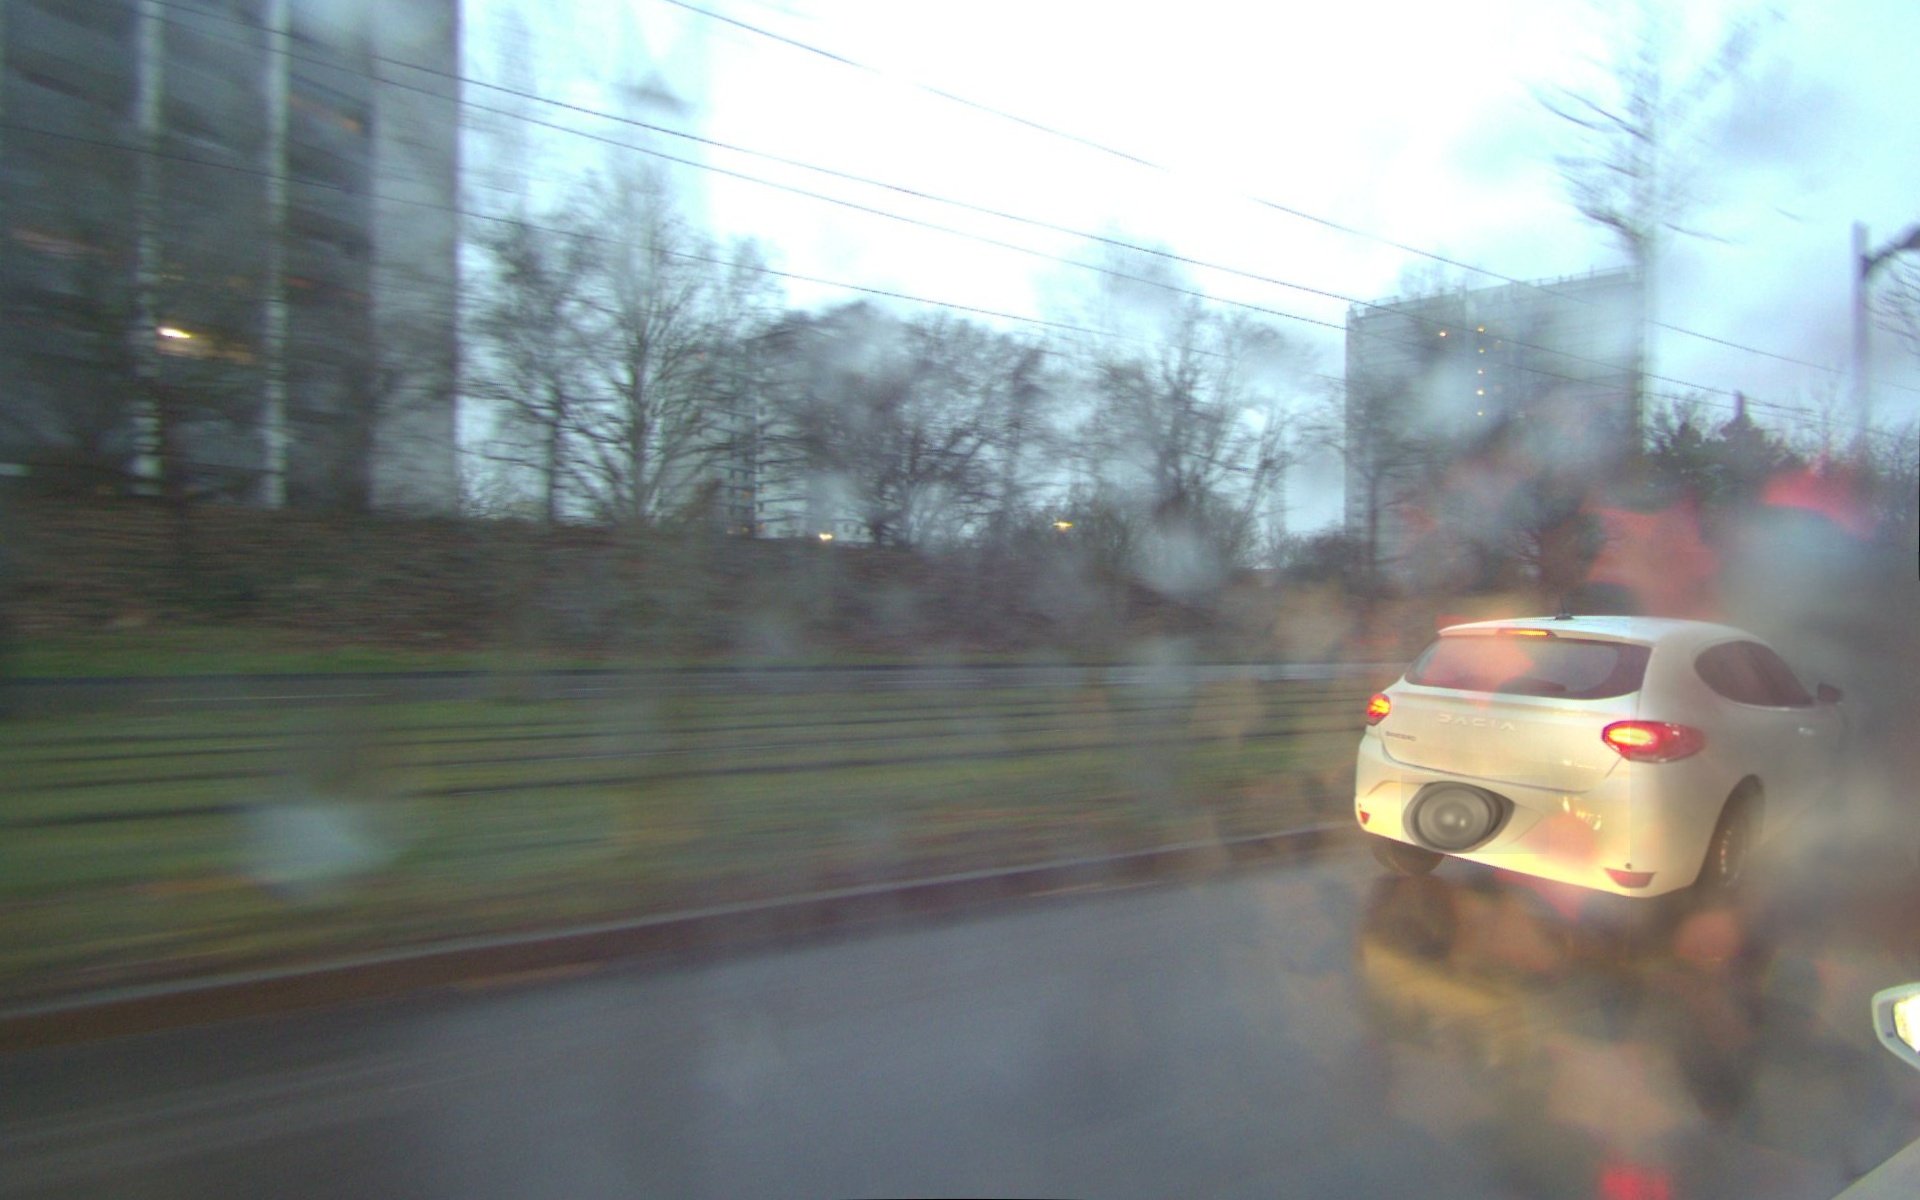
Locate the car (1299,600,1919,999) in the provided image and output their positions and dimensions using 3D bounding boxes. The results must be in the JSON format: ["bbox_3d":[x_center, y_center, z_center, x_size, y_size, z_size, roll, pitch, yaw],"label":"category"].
[{"bbox_3d":[4.007,0.819,5.648,4.085,1.545,1.701,1,-1,-29],"label":"car"}]
